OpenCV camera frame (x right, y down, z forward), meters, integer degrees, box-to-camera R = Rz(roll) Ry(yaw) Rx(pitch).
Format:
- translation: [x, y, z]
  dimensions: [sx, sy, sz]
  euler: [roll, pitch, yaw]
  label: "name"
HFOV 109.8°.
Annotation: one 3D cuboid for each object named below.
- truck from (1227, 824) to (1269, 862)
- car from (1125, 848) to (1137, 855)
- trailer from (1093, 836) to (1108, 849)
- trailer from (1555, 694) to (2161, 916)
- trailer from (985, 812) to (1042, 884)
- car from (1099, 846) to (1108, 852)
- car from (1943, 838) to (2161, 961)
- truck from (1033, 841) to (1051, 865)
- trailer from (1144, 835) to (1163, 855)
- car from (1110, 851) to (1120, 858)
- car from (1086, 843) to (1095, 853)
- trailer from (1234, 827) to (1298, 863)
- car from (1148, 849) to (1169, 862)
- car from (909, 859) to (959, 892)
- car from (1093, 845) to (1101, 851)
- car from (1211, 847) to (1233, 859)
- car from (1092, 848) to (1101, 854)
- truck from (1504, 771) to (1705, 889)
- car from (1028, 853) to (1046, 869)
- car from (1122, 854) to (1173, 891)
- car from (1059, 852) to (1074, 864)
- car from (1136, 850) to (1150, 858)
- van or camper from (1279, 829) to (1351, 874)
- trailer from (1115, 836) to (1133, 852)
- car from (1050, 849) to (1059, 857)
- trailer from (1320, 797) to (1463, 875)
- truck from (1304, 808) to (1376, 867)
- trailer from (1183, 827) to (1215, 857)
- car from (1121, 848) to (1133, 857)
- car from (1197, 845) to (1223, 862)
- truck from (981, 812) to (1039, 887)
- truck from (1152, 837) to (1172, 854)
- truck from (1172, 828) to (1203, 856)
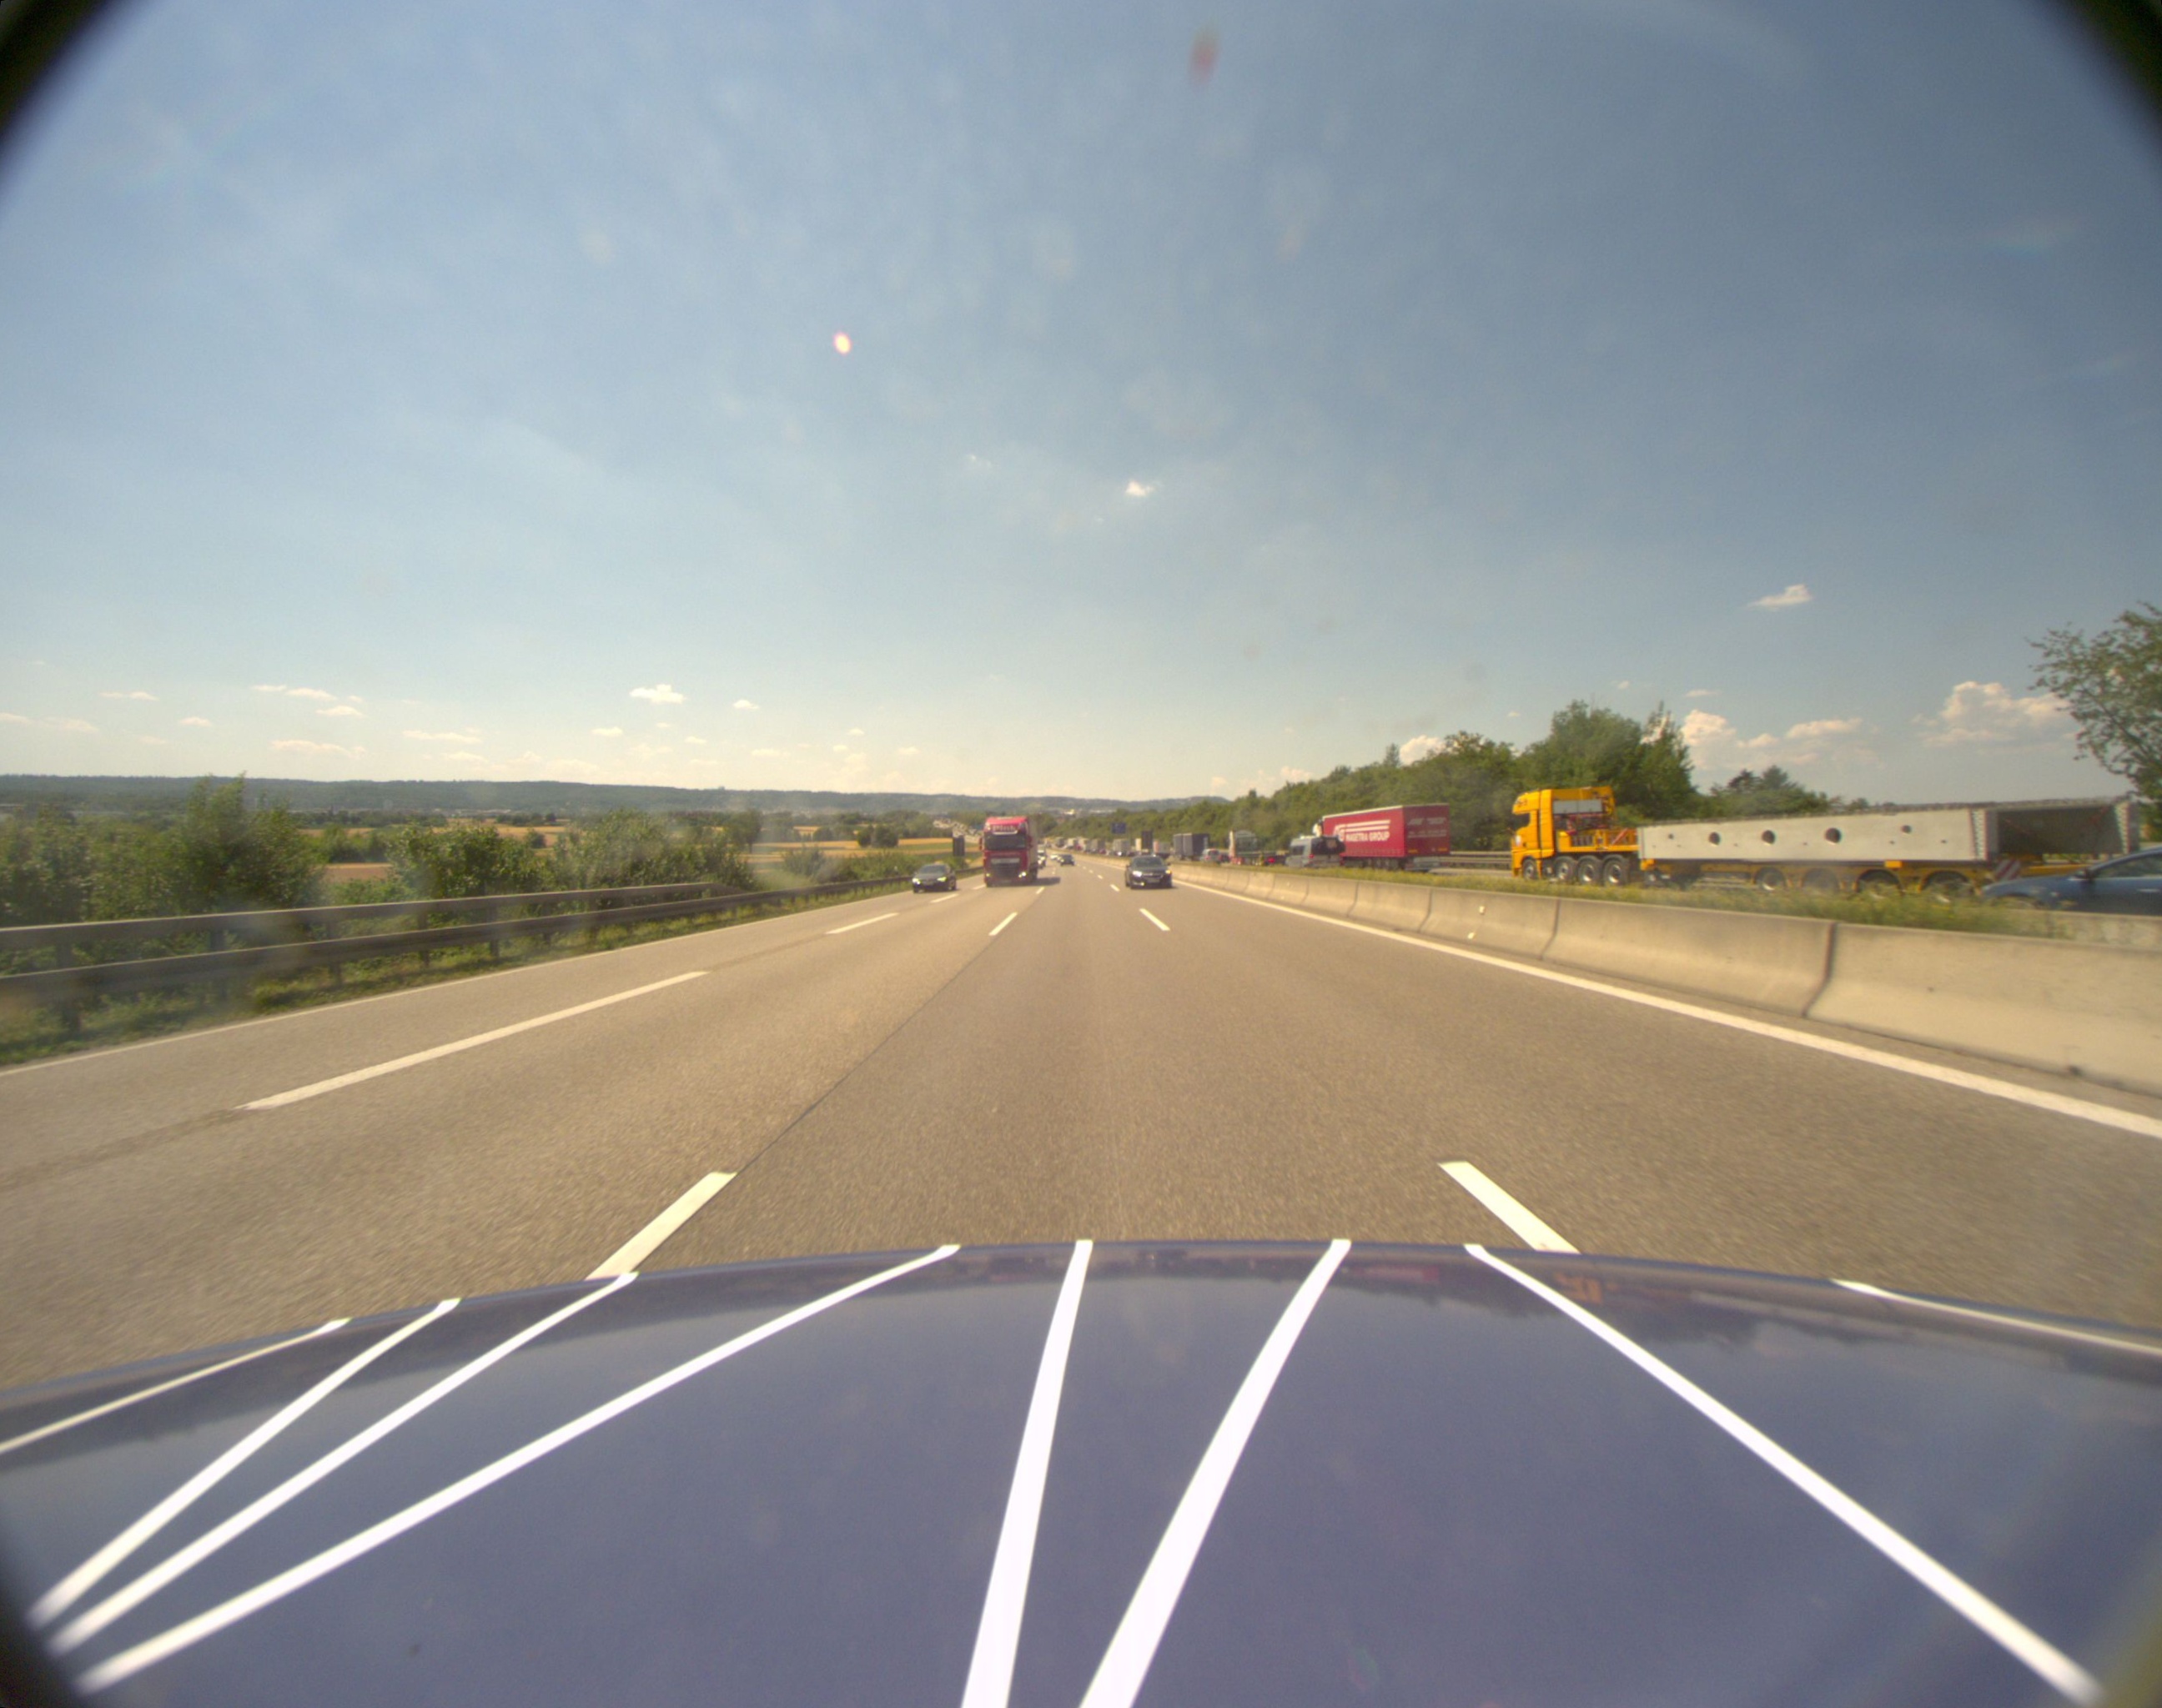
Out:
- translation: [18.073, -1.158, 82.671]
  dimensions: [2.909, 3.854, 6.176]
  euler: [-3, 1, -2]
  label: "truck"
- translation: [10.836, -0.530, 164.260]
  dimensions: [1.999, 1.518, 4.770]
  euler: [-3, 1, -3]
  label: "car"
- translation: [6.561, -3.819, 253.629]
  dimensions: [2.991, 4.183, 14.181]
  euler: [-3, 2, -6]
  label: "trailer"
- translation: [19.327, -0.920, 21.531]
  dimensions: [2.960, 4.076, 14.381]
  euler: [-2, 0, 1]
  label: "trailer"
- translation: [-4.298, -0.477, 51.241]
  dimensions: [2.926, 4.094, 13.852]
  euler: [-3, 1, -2]
  label: "trailer"
- translation: [6.332, -1.404, 215.967]
  dimensions: [1.867, 1.632, 5.109]
  euler: [-2, 3, -5]
  label: "car"
- translation: [14.867, 0.579, 9.369]
  dimensions: [1.918, 1.532, 5.742]
  euler: [-2, 0, 0]
  label: "car"
- translation: [-5.620, -0.220, 108.560]
  dimensions: [2.446, 3.011, 6.911]
  euler: [-3, 2, -4]
  label: "truck"
- translation: [15.195, -1.925, 160.417]
  dimensions: [2.928, 4.048, 8.227]
  euler: [-1, 1, -2]
  label: "trailer"
- translation: [7.472, 0.110, 168.584]
  dimensions: [1.843, 1.278, 4.871]
  euler: [-3, 3, -2]
  label: "car"
- translation: [2.963, -2.025, 250.750]
  dimensions: [2.145, 2.771, 6.619]
  euler: [-3, 3, -5]
  label: "car"
- translation: [18.250, -0.855, 76.120]
  dimensions: [2.866, 3.187, 12.779]
  euler: [-3, 0, -2]
  label: "trailer"
- translation: [10.499, 0.191, 103.025]
  dimensions: [2.054, 1.686, 5.254]
  euler: [-3, 1, -2]
  label: "car"
- translation: [-7.651, 1.101, 39.903]
  dimensions: [2.037, 1.543, 3.999]
  euler: [-2, 0, -3]
  label: "car"
- translation: [4.895, -1.744, 230.736]
  dimensions: [1.757, 1.452, 4.854]
  euler: [-3, 3, -5]
  label: "car"
- translation: [17.630, -0.179, 95.297]
  dimensions: [1.661, 1.423, 4.646]
  euler: [-2, 1, -3]
  label: "car"
- translation: [4.120, -0.838, 207.395]
  dimensions: [1.999, 1.518, 4.770]
  euler: [-3, 1, -3]
  label: "car"
- translation: [19.472, -0.808, 28.950]
  dimensions: [2.757, 3.815, 7.098]
  euler: [-2, 0, 1]
  label: "truck"
- translation: [-5.381, 0.846, 93.056]
  dimensions: [1.838, 1.636, 4.168]
  euler: [-3, 2, -7]
  label: "car"
- translation: [3.004, 0.806, 35.163]
  dimensions: [1.808, 1.534, 4.749]
  euler: [-2, 0, -1]
  label: "car"
- translation: [-2.009, 0.587, 105.054]
  dimensions: [1.866, 1.426, 3.997]
  euler: [-2, 2, -3]
  label: "car"
- translation: [11.966, 0.065, 146.606]
  dimensions: [1.999, 1.447, 5.168]
  euler: [-2, 1, -3]
  label: "car"
- translation: [14.902, -0.160, 48.945]
  dimensions: [2.317, 2.572, 7.141]
  euler: [-2, 1, -1]
  label: "van or camper"
- translation: [11.512, -2.816, 203.605]
  dimensions: [2.911, 4.063, 14.436]
  euler: [-2, 1, -4]
  label: "trailer"
- translation: [-5.708, -0.256, 163.323]
  dimensions: [1.999, 1.467, 3.997]
  euler: [-3, 3, -3]
  label: "car"
- translation: [19.141, -1.011, 48.454]
  dimensions: [3.093, 4.077, 14.379]
  euler: [-2, 0, 0]
  label: "trailer"
- translation: [19.049, -1.170, 56.303]
  dimensions: [3.043, 4.058, 6.313]
  euler: [-2, 1, -1]
  label: "truck"
- translation: [17.253, -1.708, 111.965]
  dimensions: [2.994, 4.168, 8.592]
  euler: [-2, 1, -2]
  label: "trailer"
- translation: [8.905, -0.229, 146.475]
  dimensions: [1.843, 1.574, 4.553]
  euler: [-3, 0, -2]
  label: "car"
- translation: [14.417, -0.051, 85.346]
  dimensions: [1.918, 1.761, 4.761]
  euler: [-3, 1, -2]
  label: "car"
- translation: [-4.110, -0.303, 45.319]
  dimensions: [2.924, 3.986, 6.508]
  euler: [-3, 1, -2]
  label: "truck"
- translation: [15.501, -1.632, 145.525]
  dimensions: [2.545, 3.189, 7.585]
  euler: [-2, 1, -3]
  label: "truck"
- translation: [16.913, -1.830, 121.653]
  dimensions: [3.009, 4.209, 10.730]
  euler: [-2, 1, -2]
  label: "truck"
